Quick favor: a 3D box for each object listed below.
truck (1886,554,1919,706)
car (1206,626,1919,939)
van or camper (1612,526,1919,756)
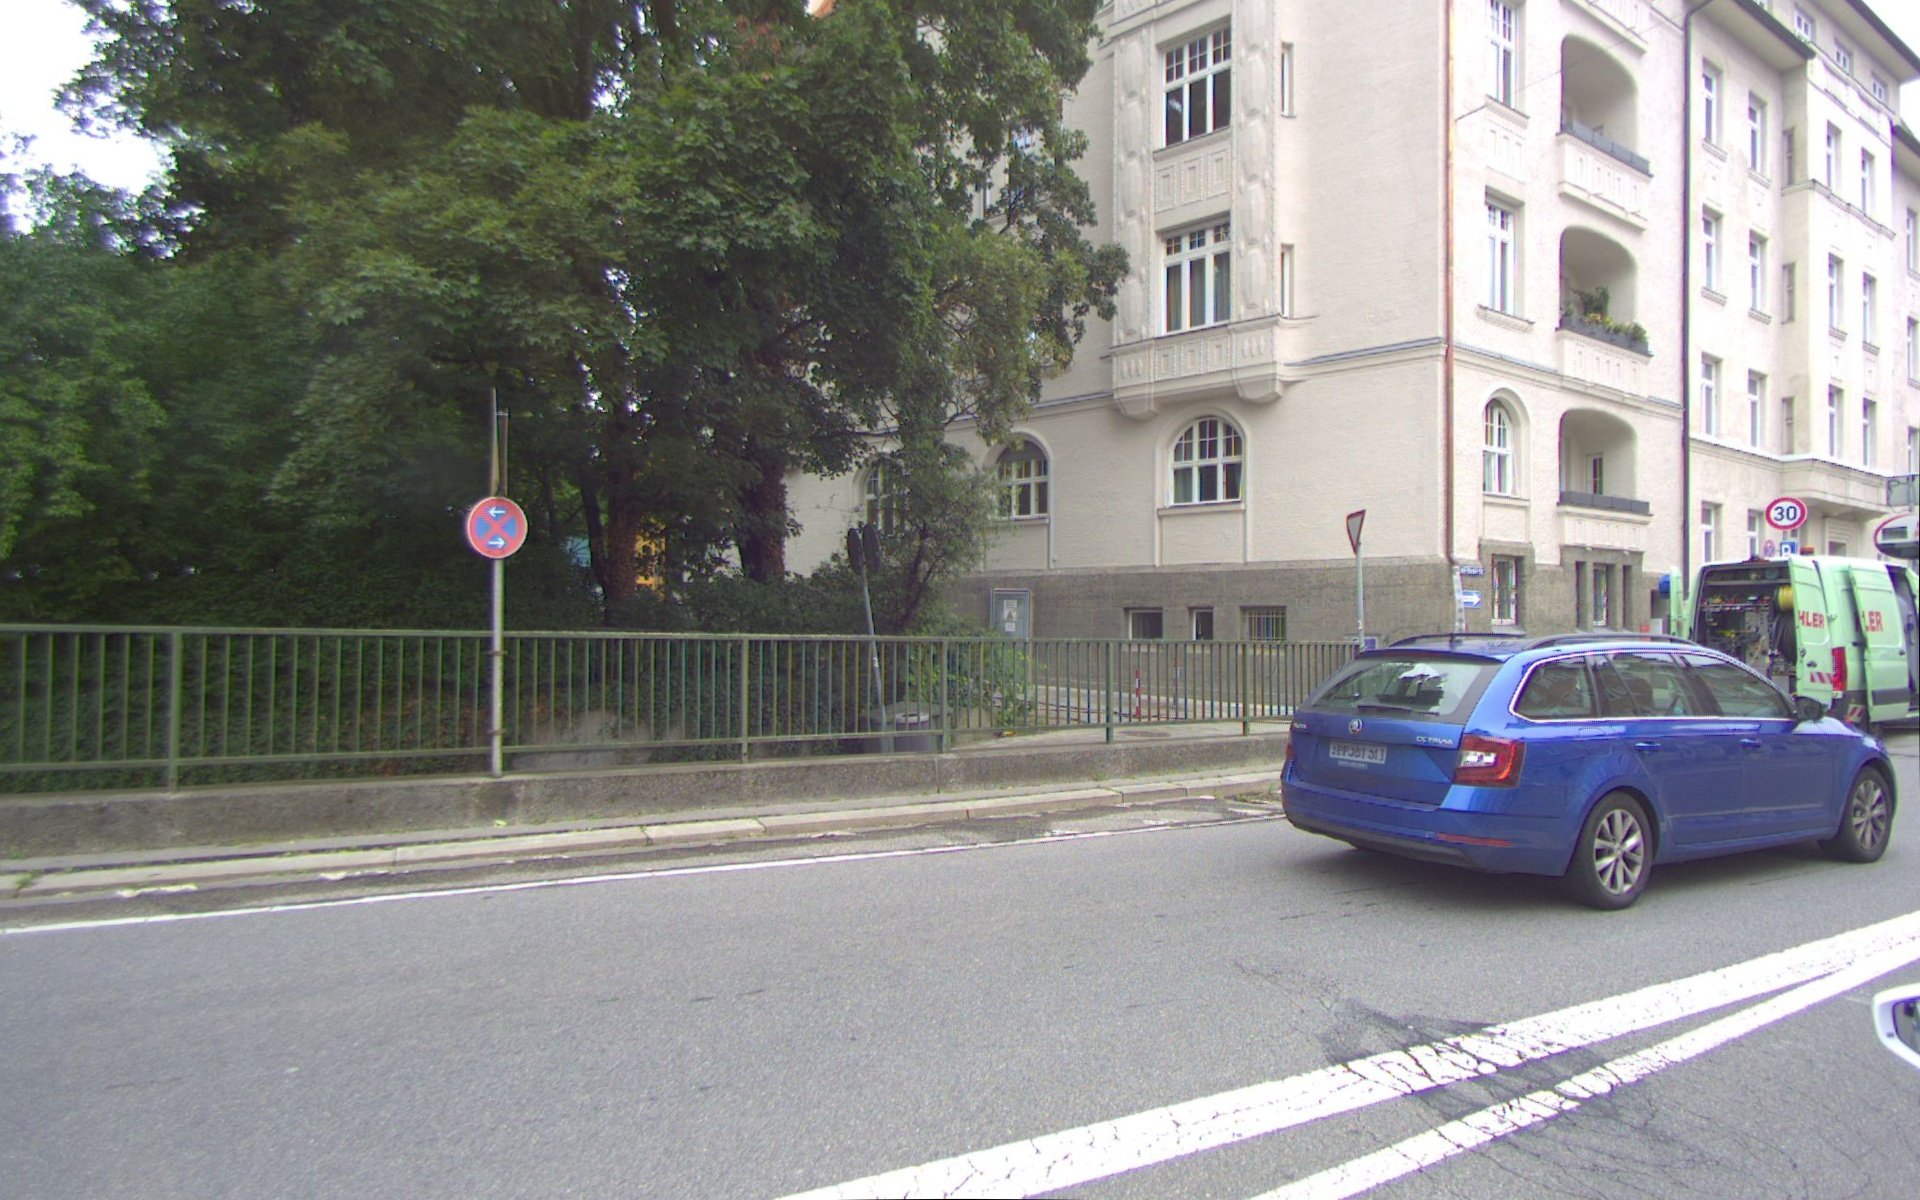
[{"bbox_3d":[21.804,0.567,20.323,7.121,2.911,2.758,0,-1,-32],"label":"truck"},{"bbox_3d":[4.133,0.951,6.635,4.669,1.473,1.982,2,-2,-25],"label":"car"},{"bbox_3d":[12.841,0.543,15.279,6.116,2.878,2.587,0,-1,-32],"label":"van or camper"}]
